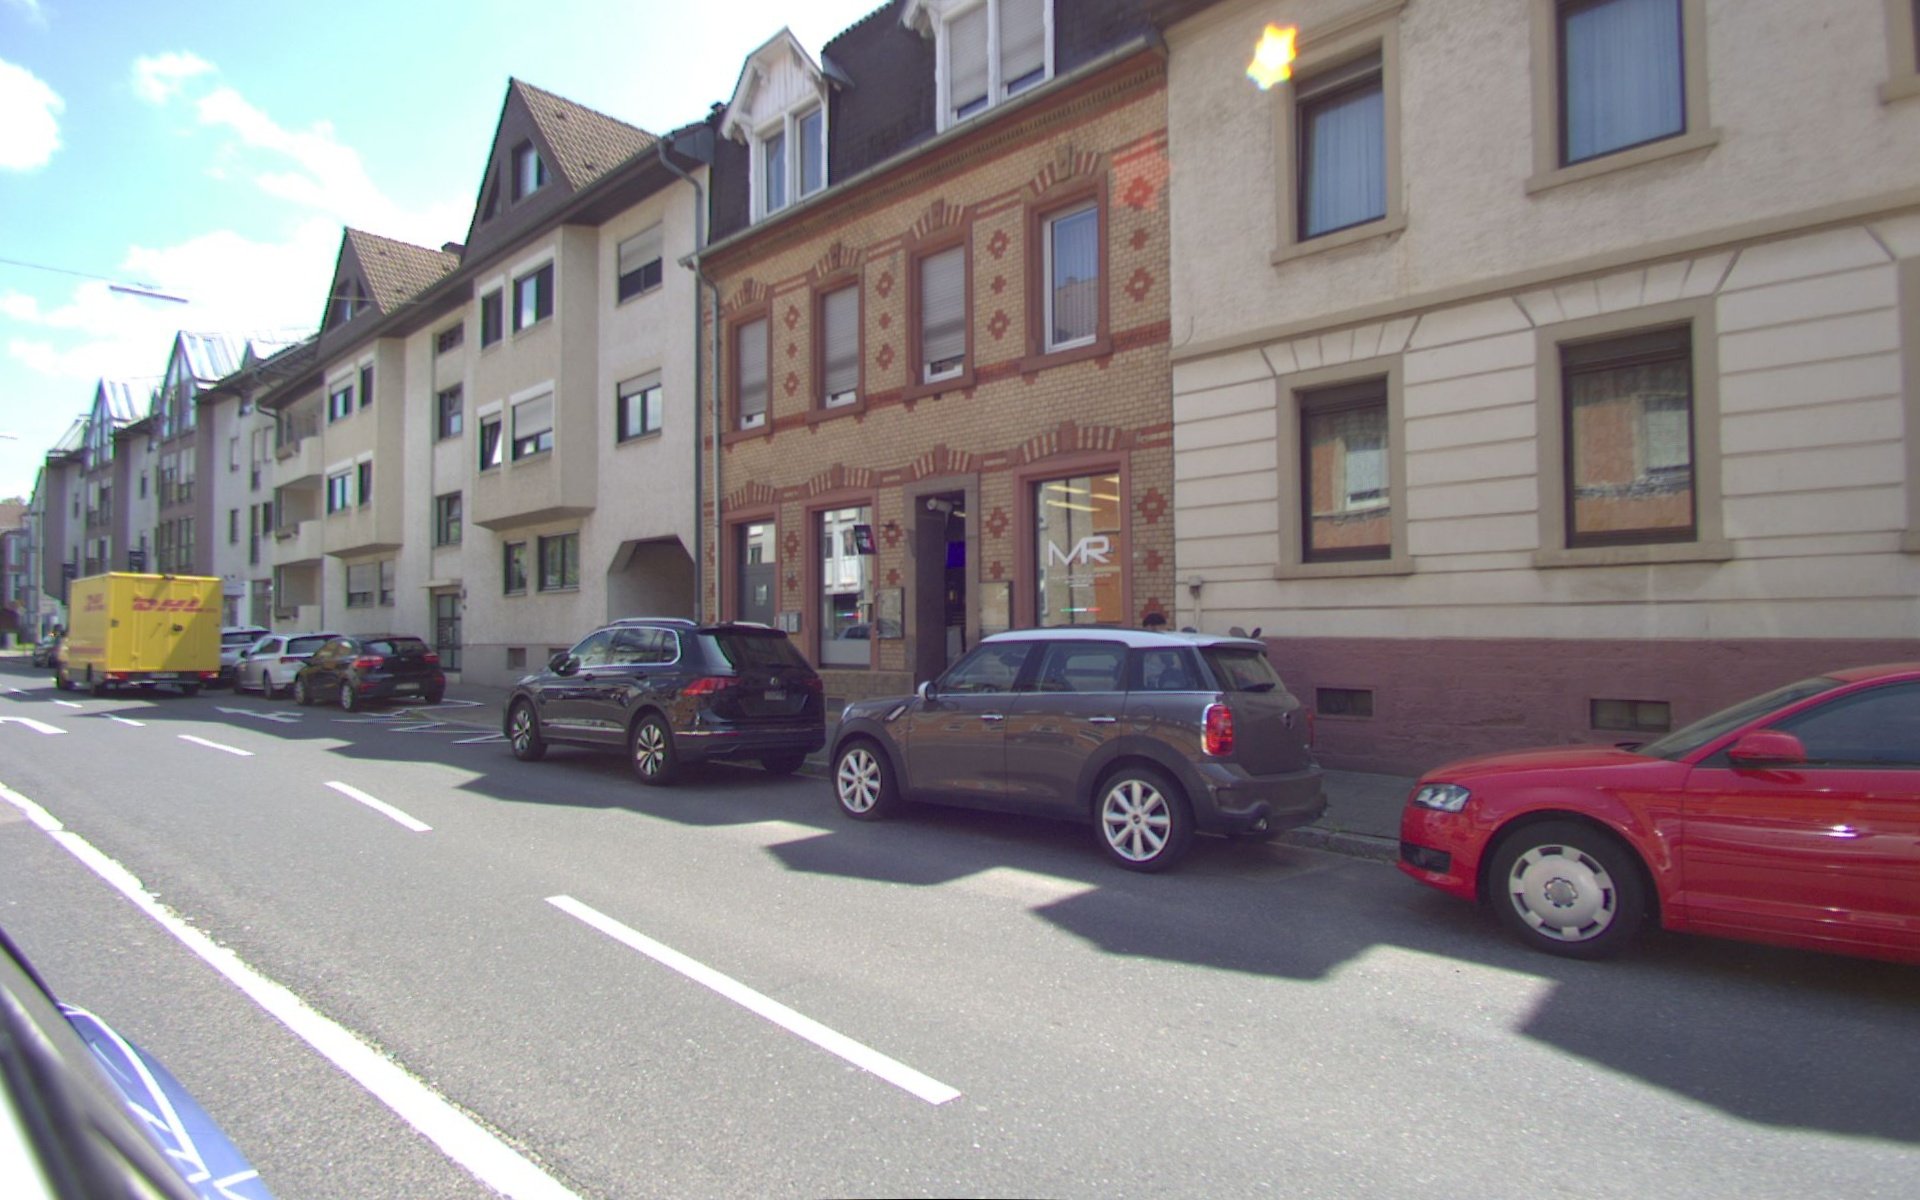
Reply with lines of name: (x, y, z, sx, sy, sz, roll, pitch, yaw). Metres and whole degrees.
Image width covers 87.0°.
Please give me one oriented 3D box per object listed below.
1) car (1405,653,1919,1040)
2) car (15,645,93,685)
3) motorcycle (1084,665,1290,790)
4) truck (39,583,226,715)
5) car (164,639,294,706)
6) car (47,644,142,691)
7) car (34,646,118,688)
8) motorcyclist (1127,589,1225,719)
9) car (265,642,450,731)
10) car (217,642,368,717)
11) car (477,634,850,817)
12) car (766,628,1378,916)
car: (4.514, 0.992, 4.311, 4.496, 1.433, 1.822, -2, -5, 39)
car: (-38.627, 2.733, 43.123, 4.965, 1.458, 1.821, -1, 0, 41)
motorcycle: (2.271, 1.237, 10.261, 1.871, 1.087, 0.836, -2, -2, 42)
truck: (-20.313, 1.170, 24.656, 7.559, 2.792, 2.202, -2, -4, 41)
car: (-20.201, 1.929, 27.915, 4.382, 1.607, 1.822, -1, 0, 39)
car: (-31.511, 2.407, 36.804, 4.381, 1.500, 1.822, -1, 0, 39)
car: (-34.898, 2.607, 39.933, 4.323, 1.394, 1.821, -1, 0, 40)
motorcyclist: (2.199, 0.538, 10.310, 0.711, 1.257, 0.711, -2, -2, 41)
car: (-12.376, 1.675, 20.675, 4.498, 1.499, 1.822, -1, 0, 39)
car: (-15.950, 1.809, 24.101, 4.383, 1.499, 1.821, -1, 0, 40)
car: (-3.428, 1.216, 11.226, 4.500, 1.609, 1.820, -1, -4, 41)
car: (0.647, 1.074, 7.897, 4.500, 1.609, 1.820, -1, -5, 41)
